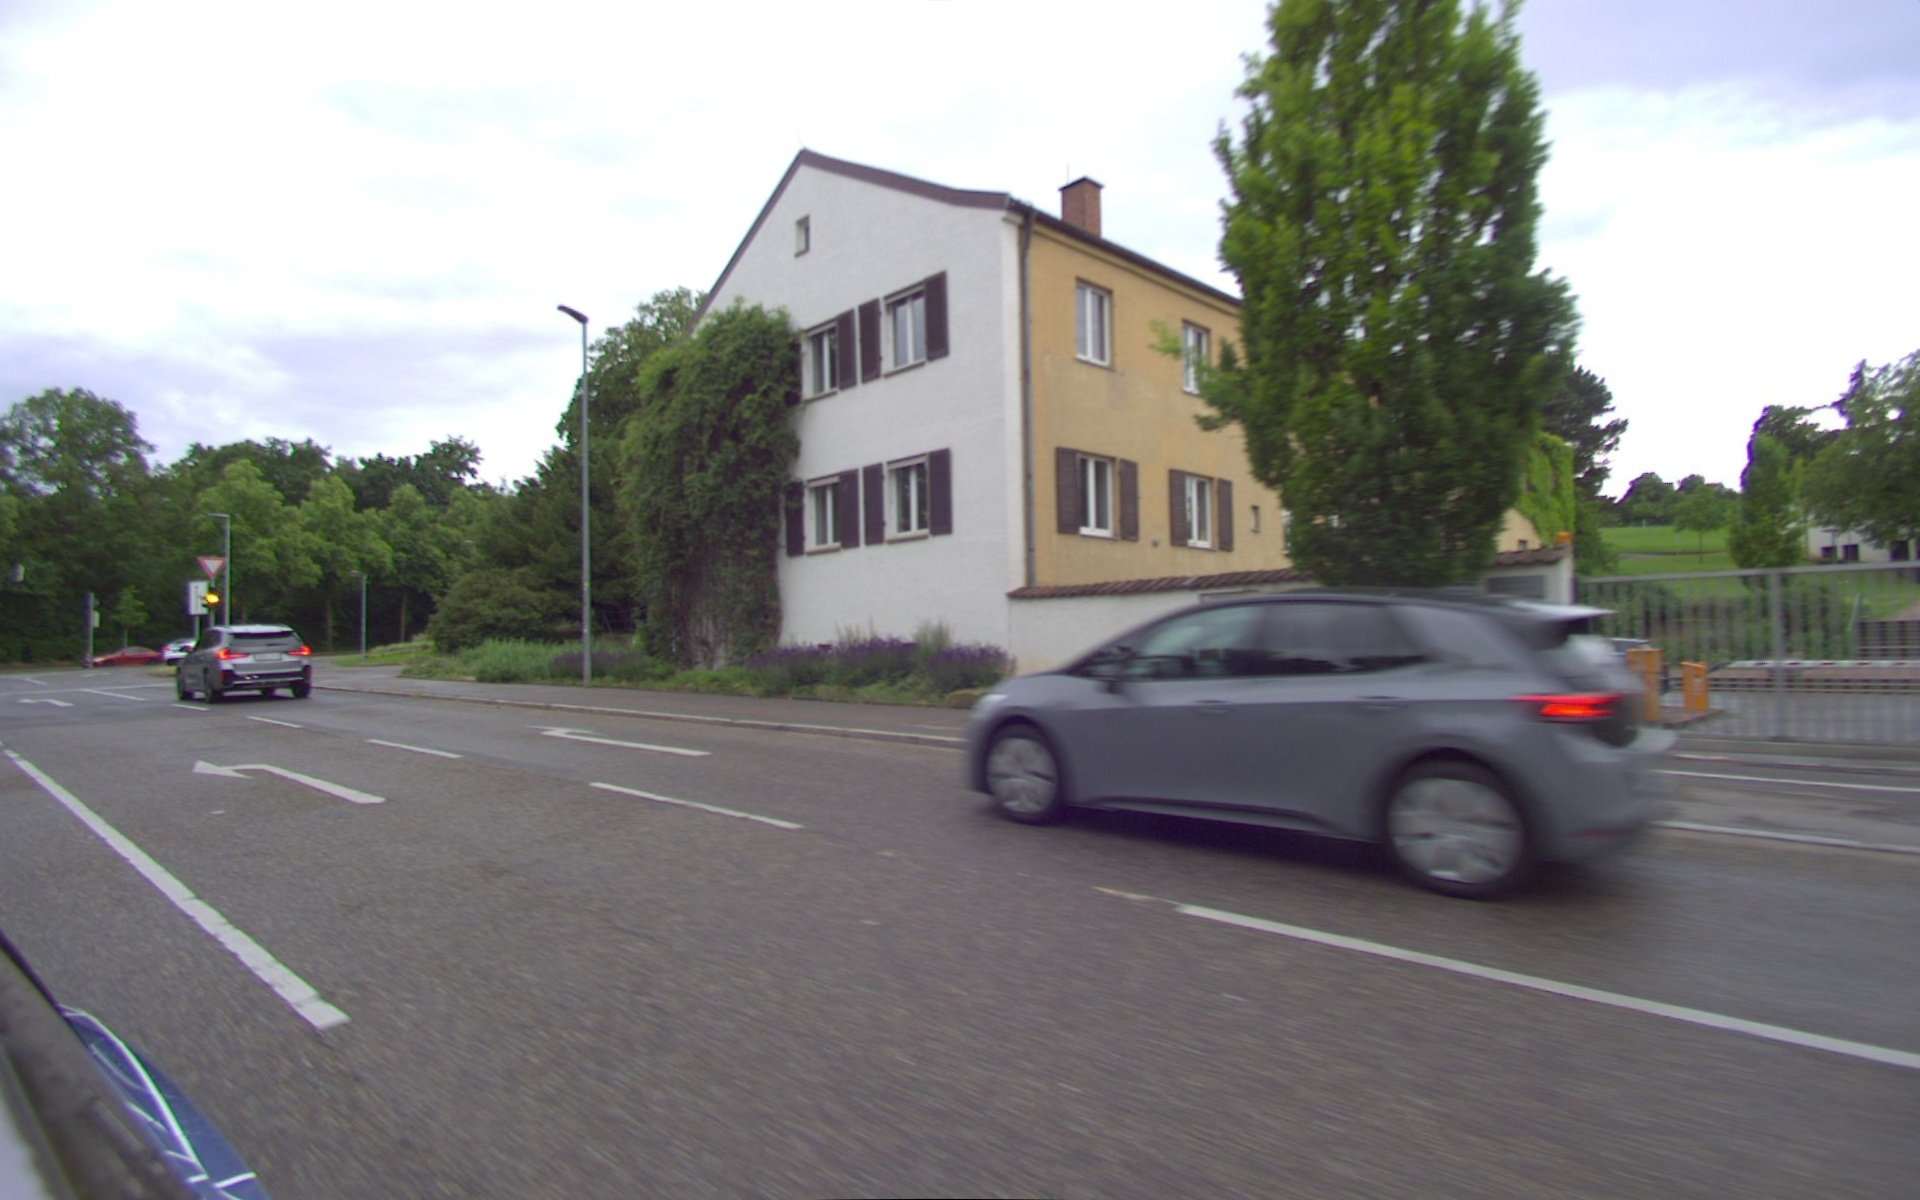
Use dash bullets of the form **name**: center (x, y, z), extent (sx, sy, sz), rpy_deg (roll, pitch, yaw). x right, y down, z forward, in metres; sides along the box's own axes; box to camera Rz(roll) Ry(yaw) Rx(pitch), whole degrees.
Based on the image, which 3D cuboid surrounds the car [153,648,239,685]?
- **car**: center (-43.099, 3.712, 57.198), extent (1.969, 1.778, 4.351), rpy_deg (-1, -1, -7)

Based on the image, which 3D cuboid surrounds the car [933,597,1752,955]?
- **car**: center (2.073, 0.767, 6.400), extent (4.469, 1.469, 1.862), rpy_deg (-2, -1, 43)

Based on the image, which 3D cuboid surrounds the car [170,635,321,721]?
- **car**: center (-15.772, 1.684, 22.247), extent (4.344, 1.641, 1.899), rpy_deg (-4, -2, 43)

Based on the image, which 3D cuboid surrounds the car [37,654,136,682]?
- **car**: center (-54.584, 4.221, 63.317), extent (1.985, 1.526, 4.315), rpy_deg (-1, -1, 20)
